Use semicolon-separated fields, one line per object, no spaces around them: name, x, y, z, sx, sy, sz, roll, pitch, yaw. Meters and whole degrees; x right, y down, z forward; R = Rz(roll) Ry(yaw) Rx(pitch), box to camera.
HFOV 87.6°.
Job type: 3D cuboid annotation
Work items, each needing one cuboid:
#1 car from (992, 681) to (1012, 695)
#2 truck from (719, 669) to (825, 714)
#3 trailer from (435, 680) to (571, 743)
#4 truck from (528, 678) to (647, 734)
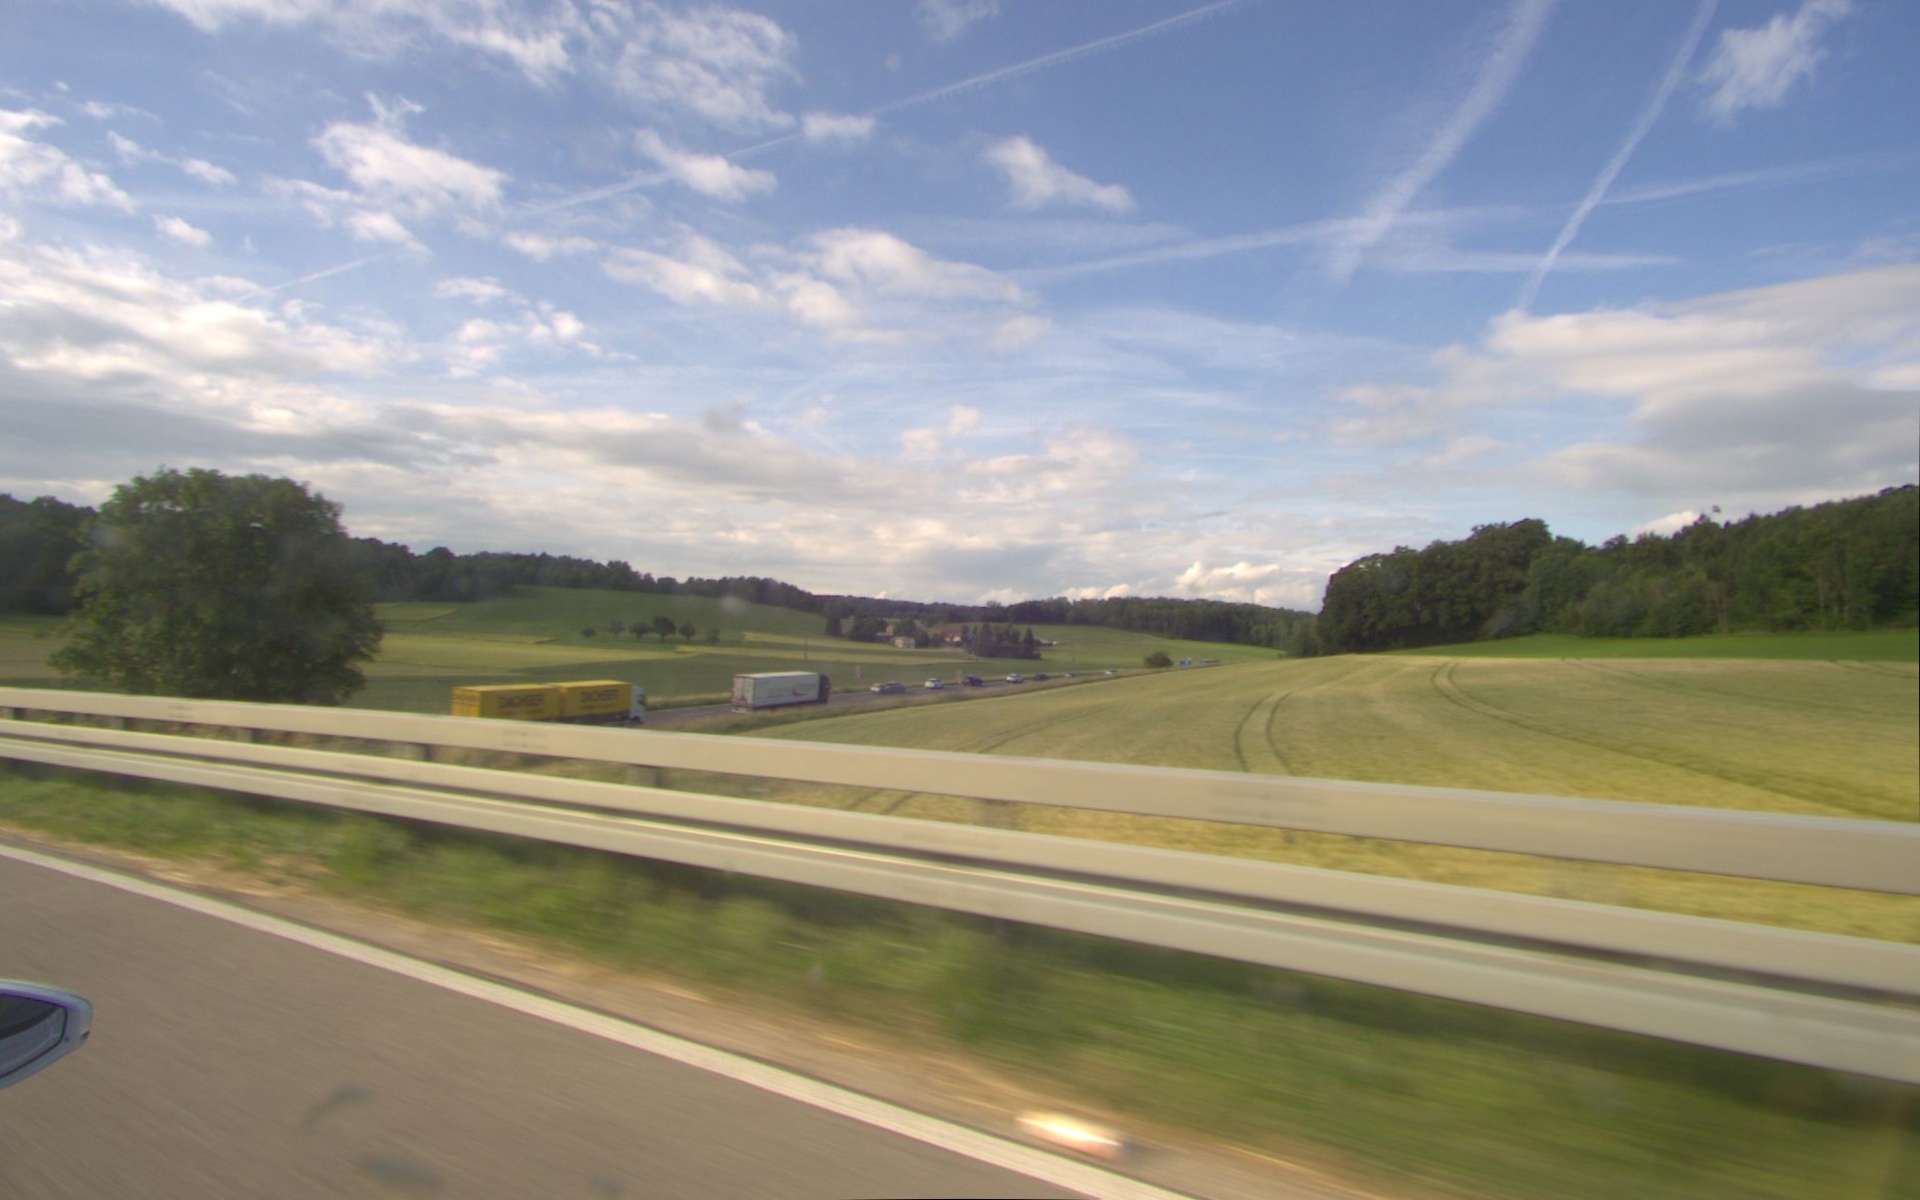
car;6.652;13.938;158.611;1.967;2.038;3.992;-3;-4;22
truck;-19.799;9.645;106.959;4.011;4.045;14.399;-3;-4;21
trailer;-32.996;7.929;72.892;3.770;4.109;9.121;-1;-4;18
truck;-30.105;8.455;81.568;3.770;4.109;9.793;-1;-4;18
